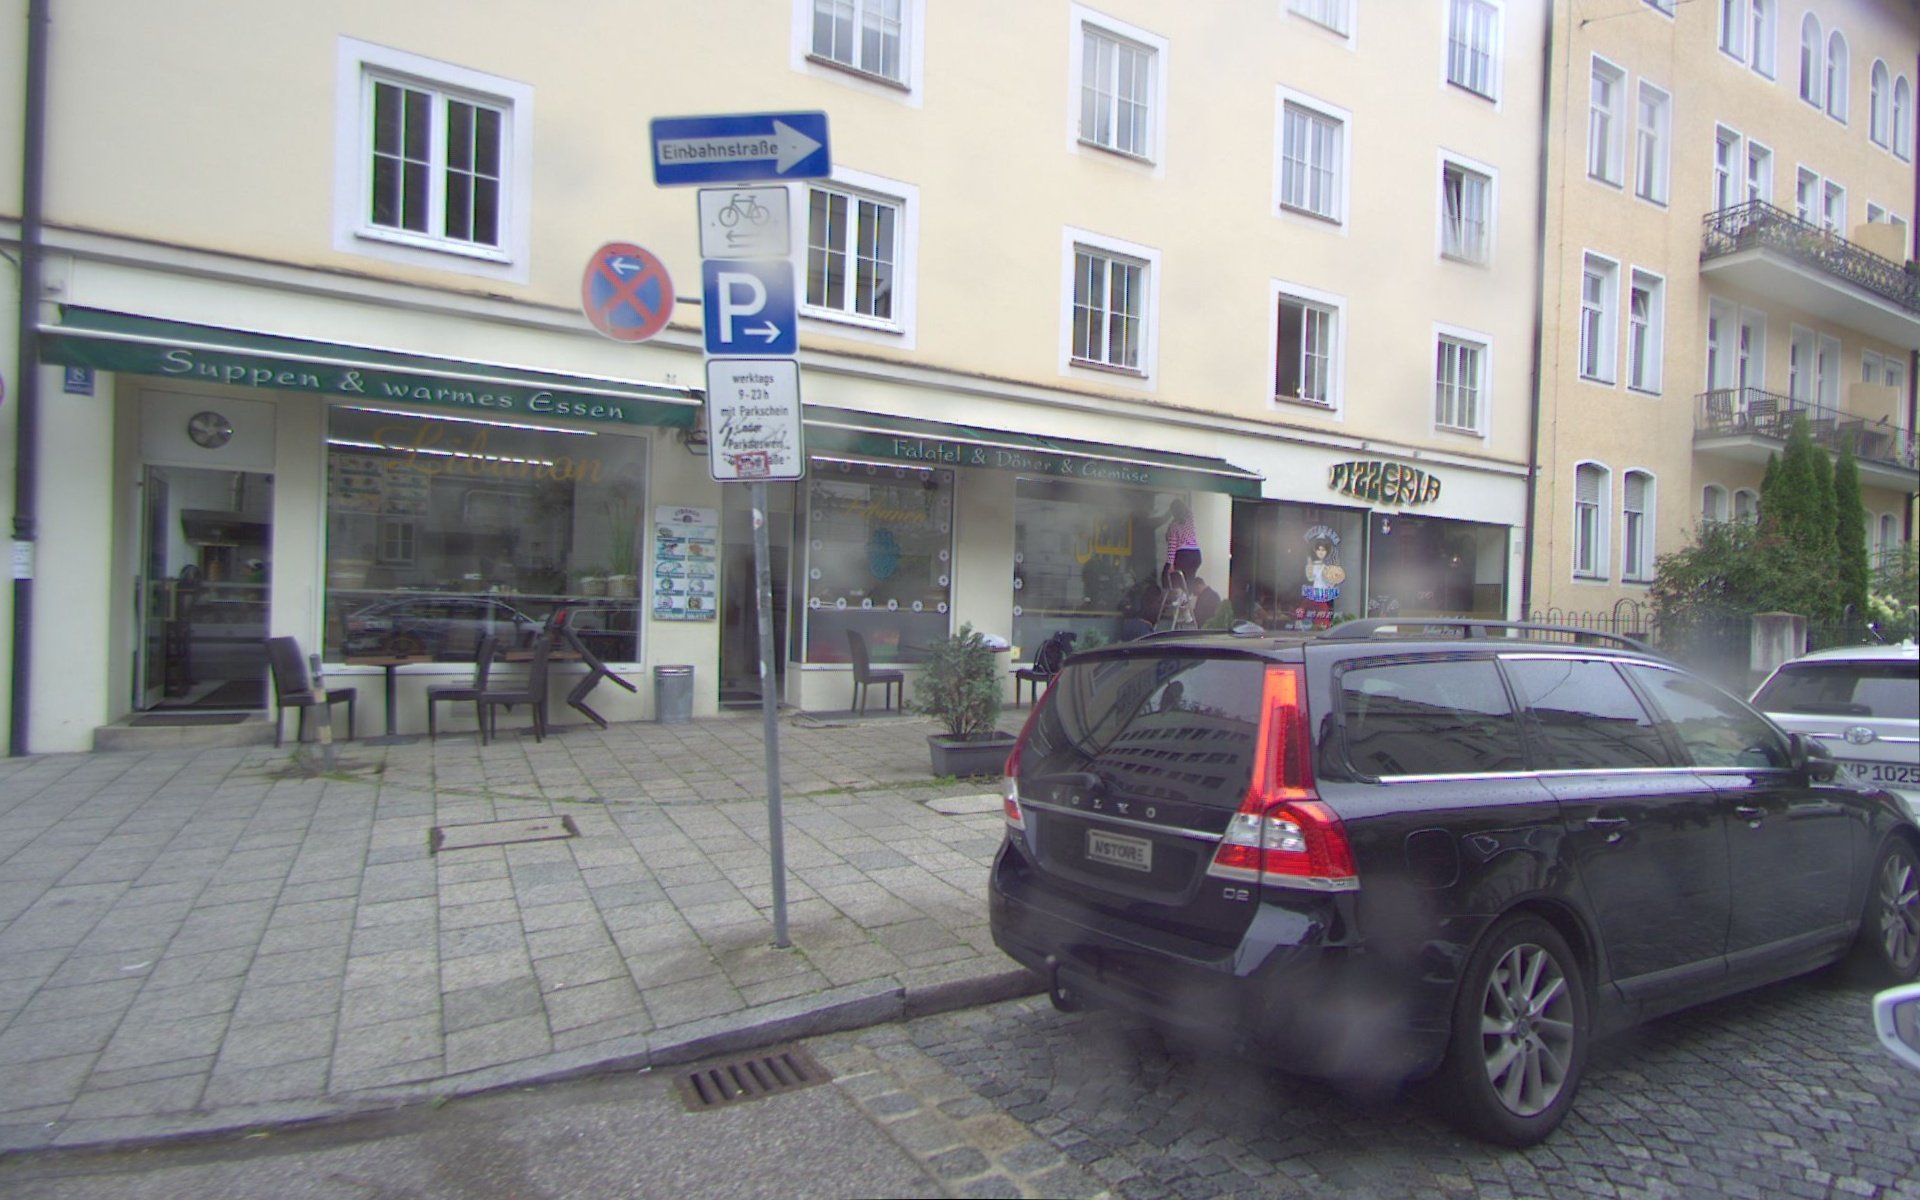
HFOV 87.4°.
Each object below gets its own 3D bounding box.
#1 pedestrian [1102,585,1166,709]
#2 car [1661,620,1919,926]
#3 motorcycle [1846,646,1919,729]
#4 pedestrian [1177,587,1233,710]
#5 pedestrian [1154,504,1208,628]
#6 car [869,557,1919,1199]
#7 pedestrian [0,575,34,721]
[{"bbox_3d":[2.389,0.632,13.814,0.622,1.664,0.519,2,0,-29],"label":"pedestrian"},{"bbox_3d":[6.724,0.986,6.503,4.486,1.556,1.767,2,-5,-29],"label":"car"},{"bbox_3d":[14.430,1.338,15.623,1.560,1.210,0.488,2,-1,-30],"label":"motorcycle"},{"bbox_3d":[3.488,0.681,14.299,0.567,1.712,0.459,2,0,-29],"label":"pedestrian"},{"bbox_3d":[3.055,-0.462,13.909,0.490,1.664,0.476,2,0,-24],"label":"pedestrian"},{"bbox_3d":[2.154,0.782,4.167,4.693,1.607,1.843,2,0,-31],"label":"car"},{"bbox_3d":[-10.732,0.510,11.021,0.631,1.582,0.605,2,0,-25],"label":"pedestrian"}]
